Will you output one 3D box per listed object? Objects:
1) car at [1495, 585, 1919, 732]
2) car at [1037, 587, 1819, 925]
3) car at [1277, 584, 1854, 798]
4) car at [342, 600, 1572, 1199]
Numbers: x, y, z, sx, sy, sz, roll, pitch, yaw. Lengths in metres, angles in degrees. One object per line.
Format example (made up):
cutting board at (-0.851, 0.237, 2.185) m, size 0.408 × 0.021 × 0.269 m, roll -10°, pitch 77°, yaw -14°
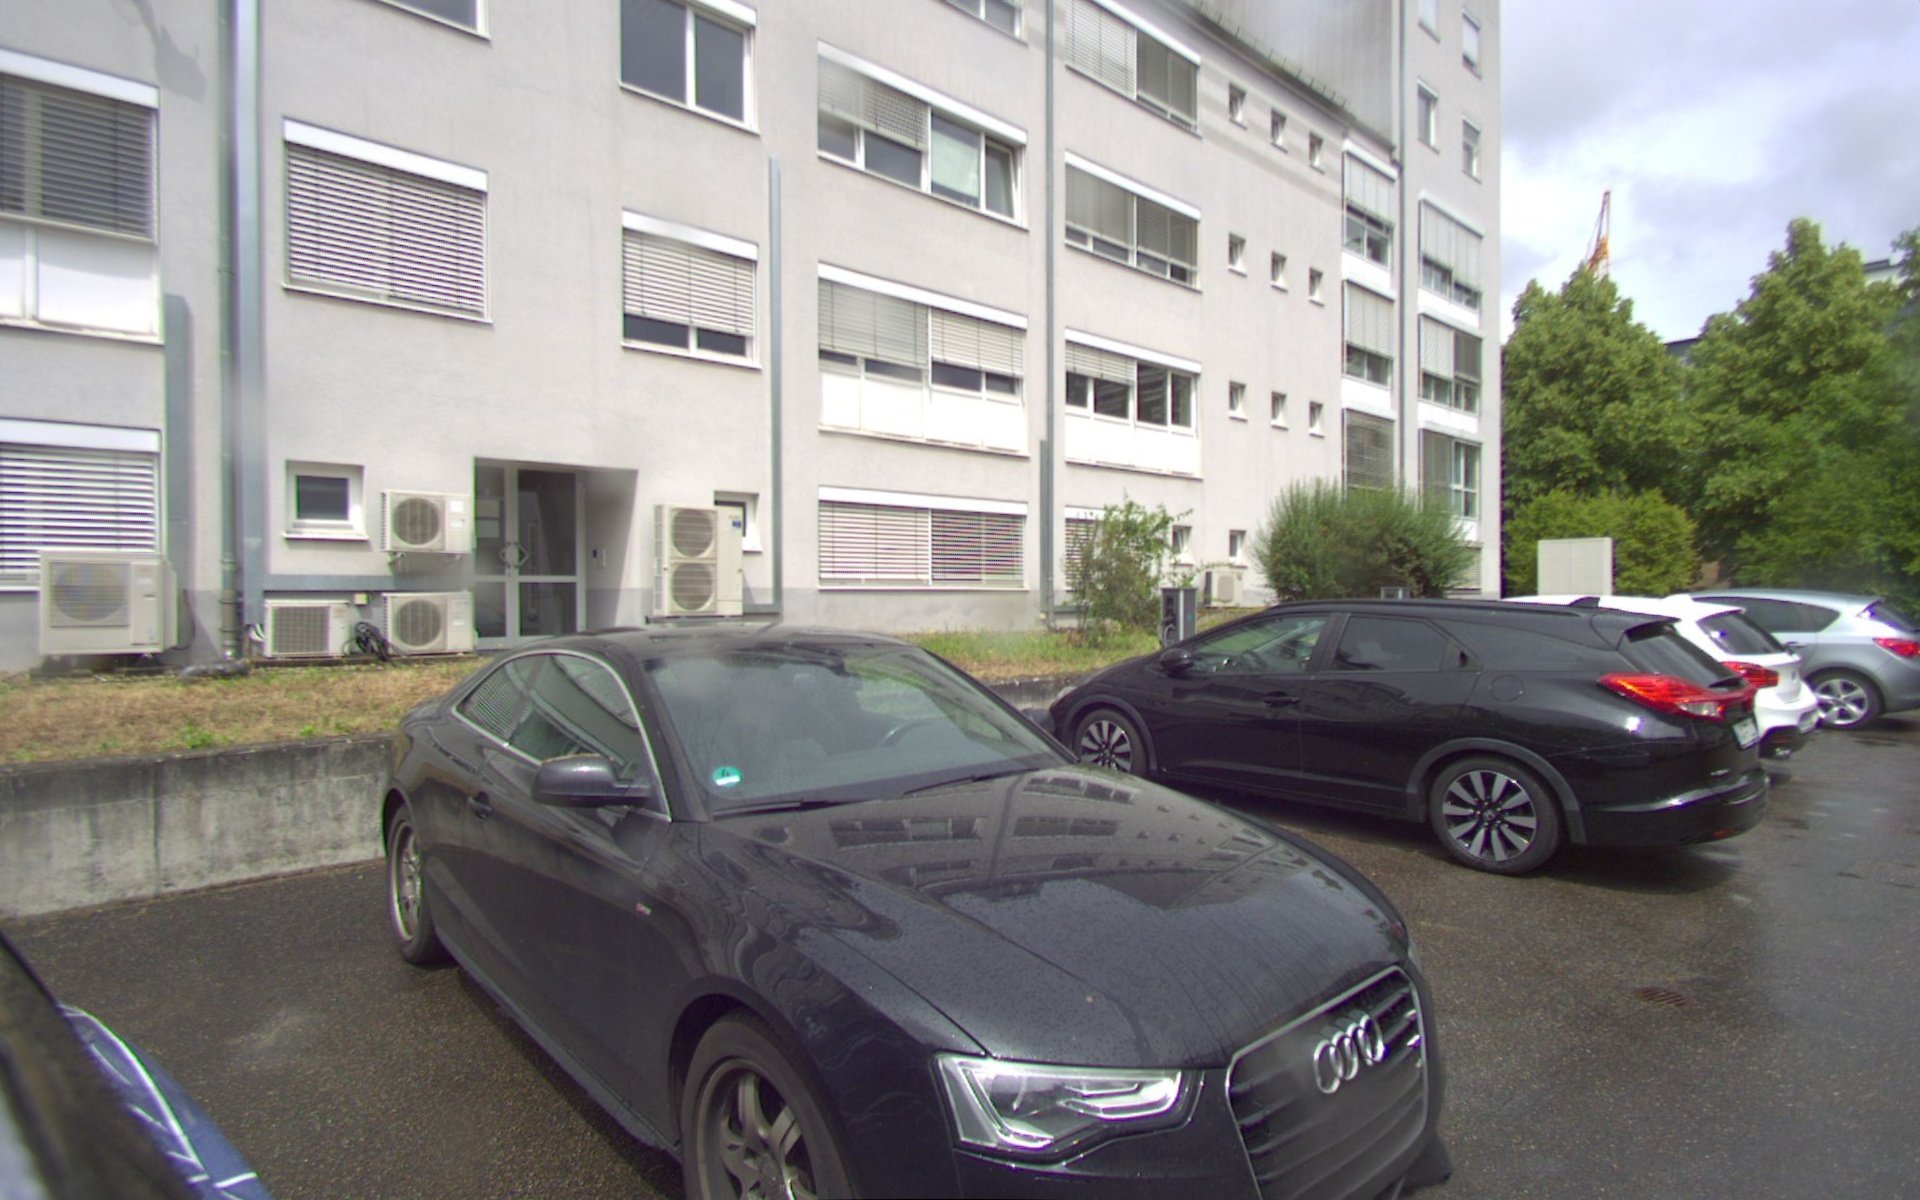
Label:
car at (9.029, 0.562, 12.112) m, size 1.736 × 1.453 × 4.321 m, roll -1°, pitch 2°, yaw -43°
car at (2.676, 0.656, 6.624) m, size 1.736 × 1.453 × 4.321 m, roll -1°, pitch 2°, yaw -43°
car at (5.127, 0.592, 9.054) m, size 1.670 × 1.453 × 4.131 m, roll -1°, pitch 2°, yaw -41°
car at (-0.683, 0.728, 3.541) m, size 1.736 × 1.362 × 4.535 m, roll -1°, pitch 2°, yaw -42°
